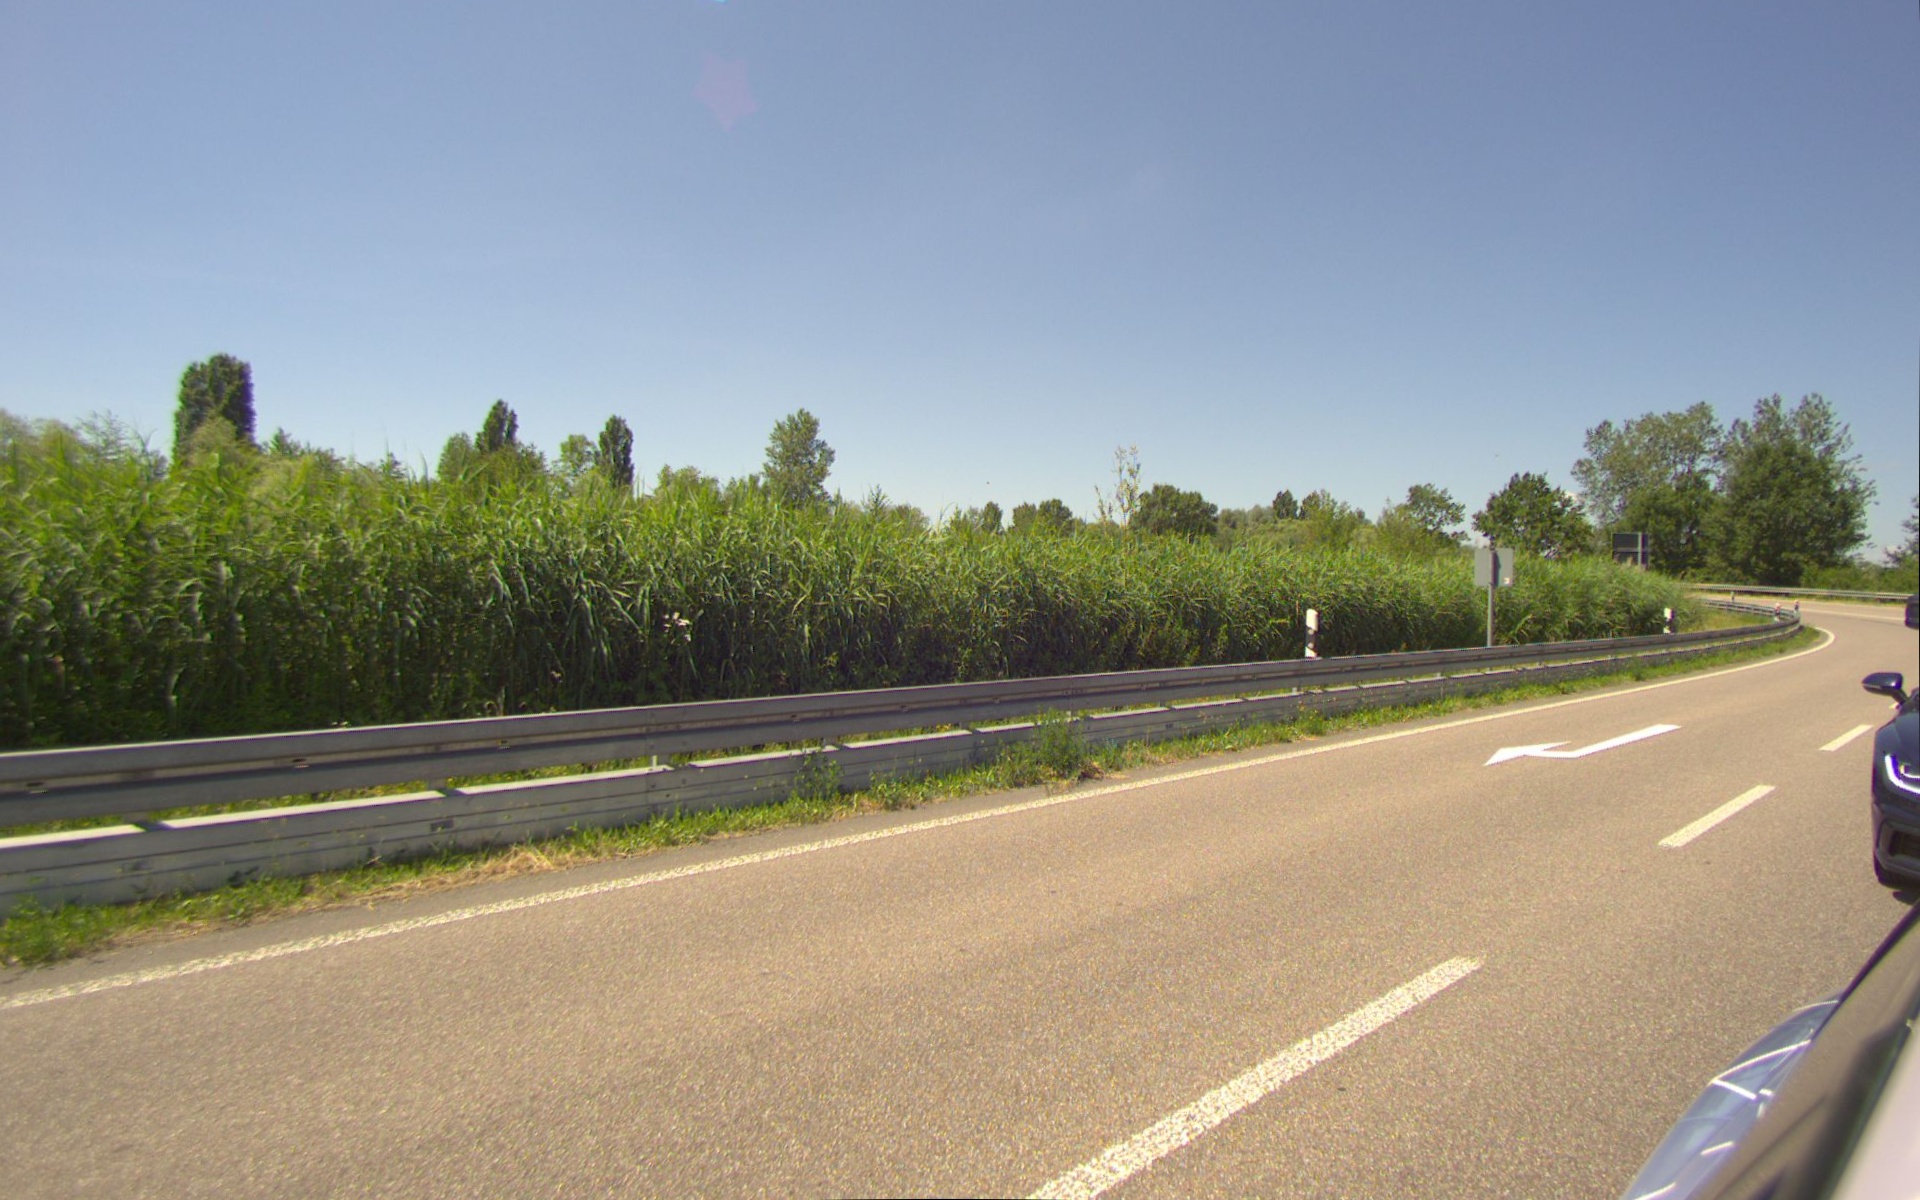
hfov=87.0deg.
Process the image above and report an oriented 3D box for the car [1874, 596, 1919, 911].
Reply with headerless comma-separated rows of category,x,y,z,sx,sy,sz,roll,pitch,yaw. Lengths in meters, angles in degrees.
car,6.332,0.693,5.378,3.931,1.427,1.759,-1,1,-41
